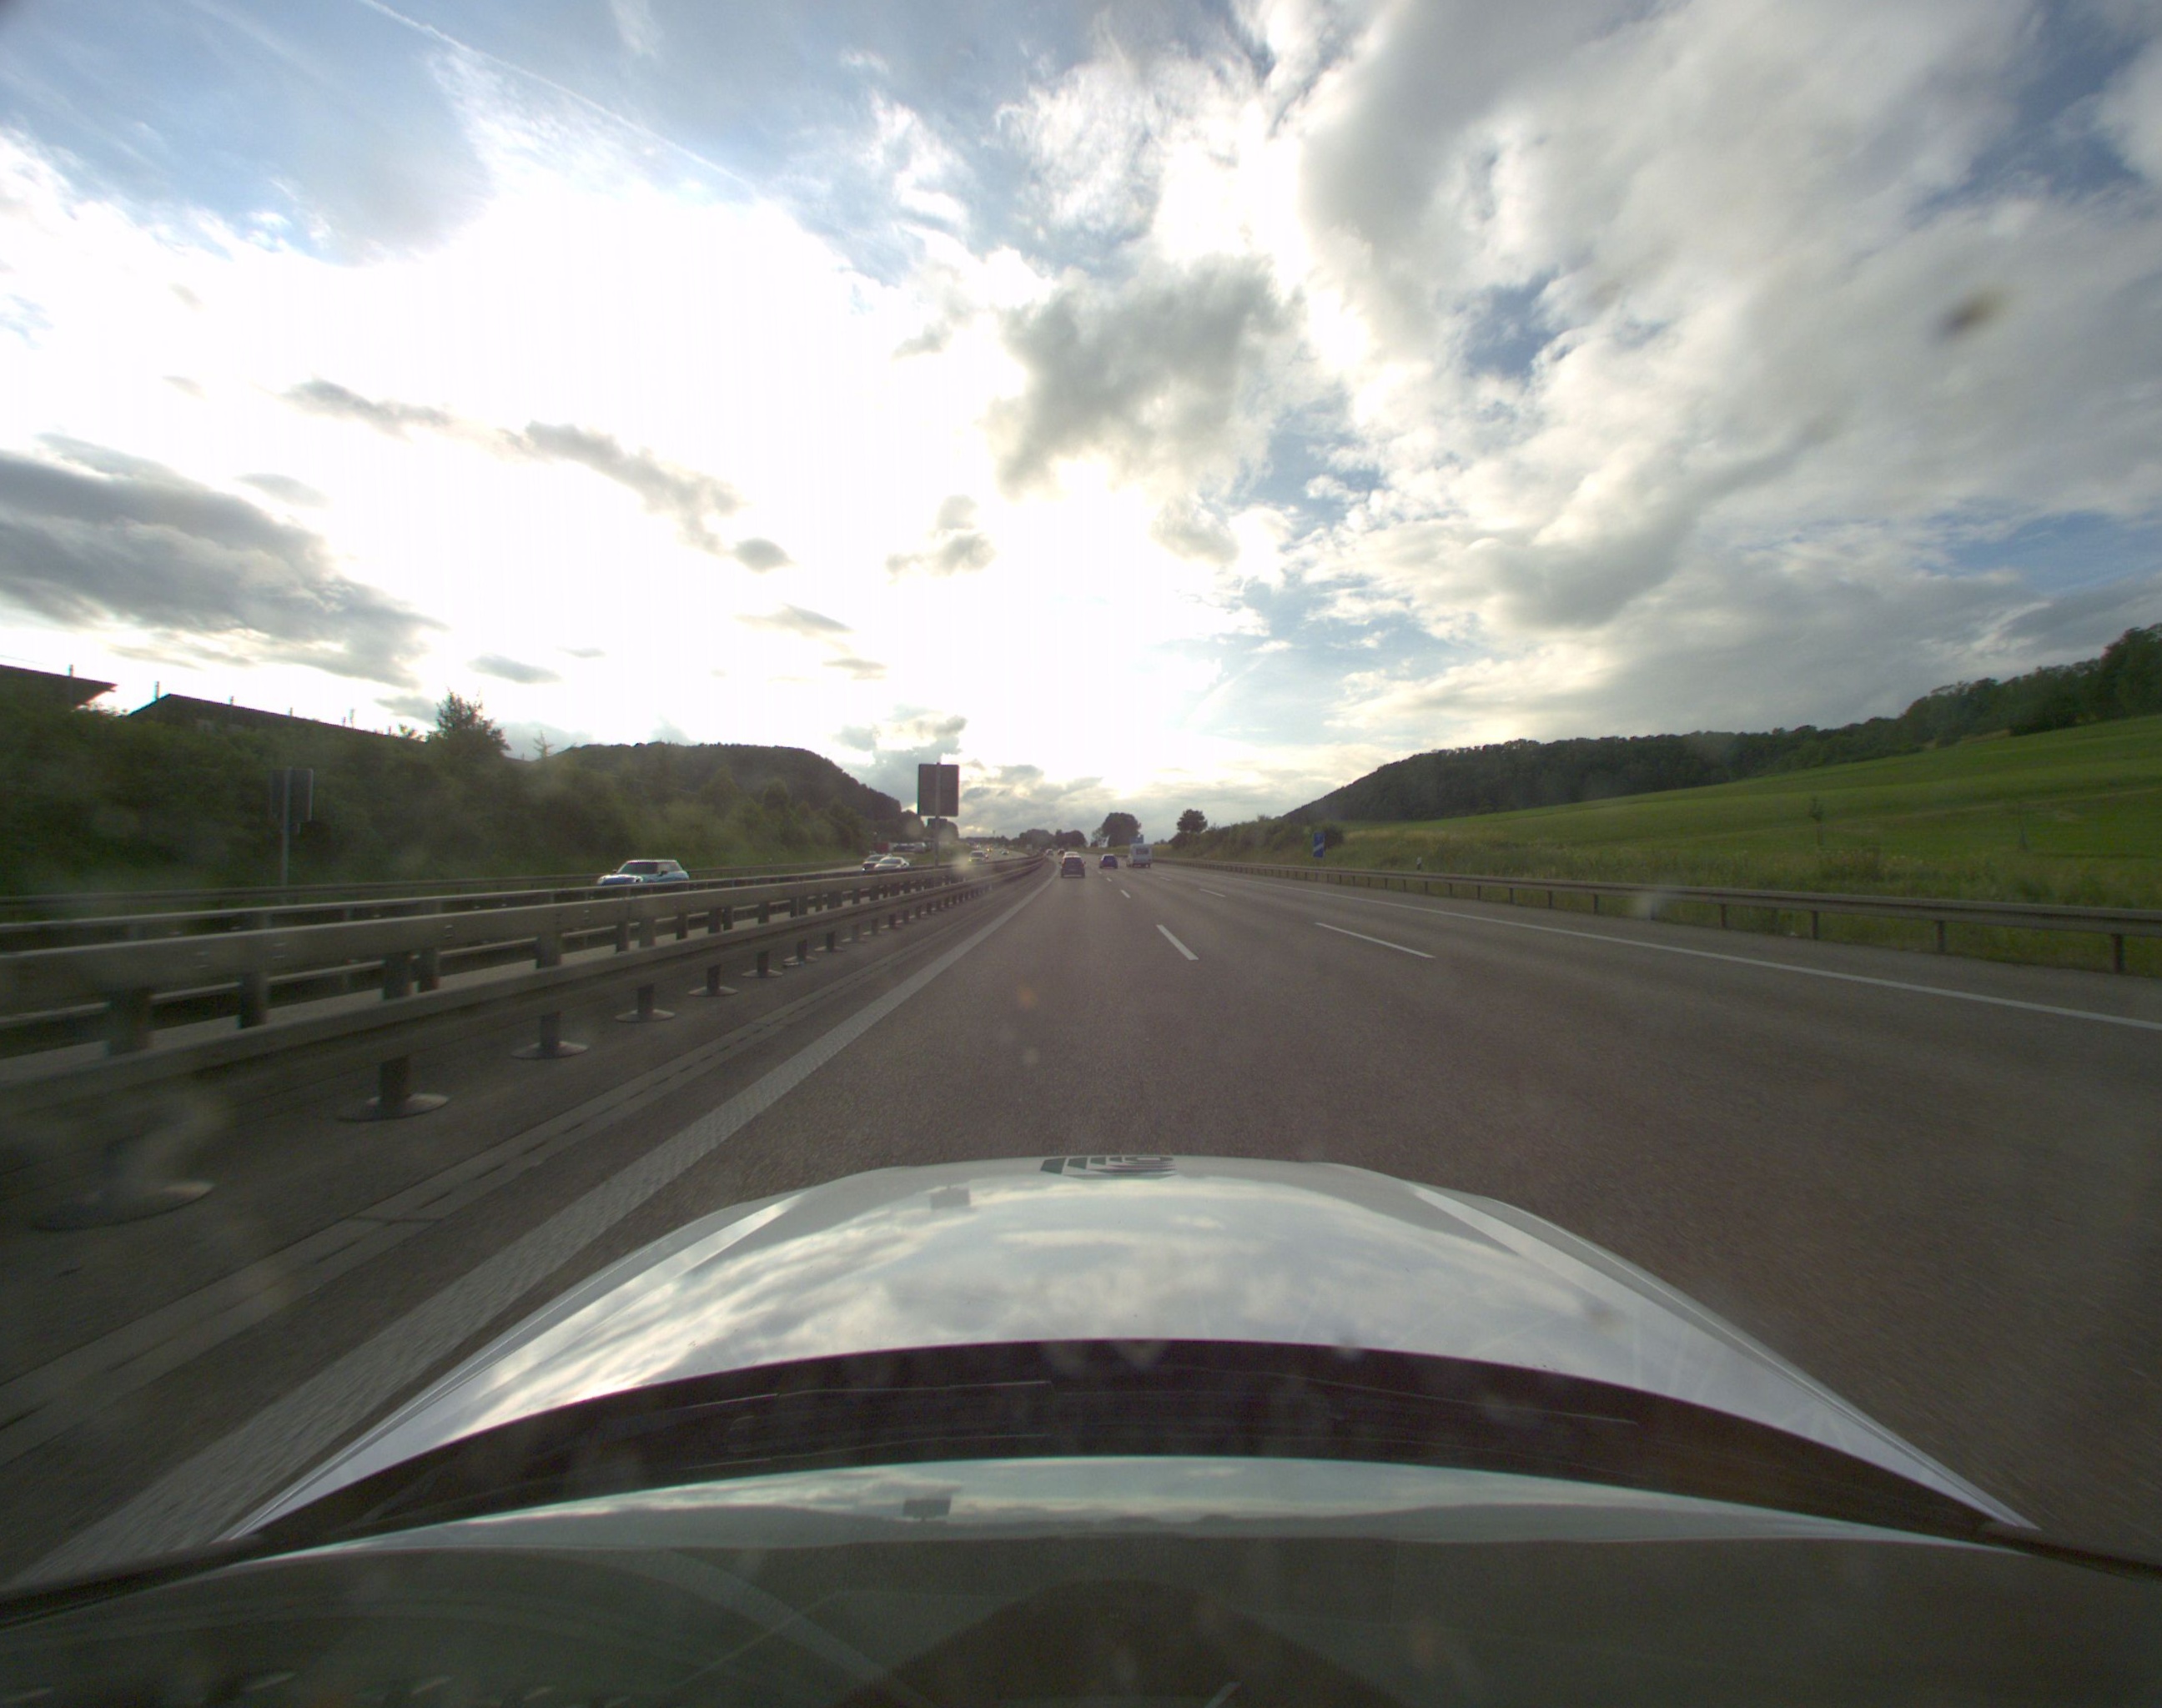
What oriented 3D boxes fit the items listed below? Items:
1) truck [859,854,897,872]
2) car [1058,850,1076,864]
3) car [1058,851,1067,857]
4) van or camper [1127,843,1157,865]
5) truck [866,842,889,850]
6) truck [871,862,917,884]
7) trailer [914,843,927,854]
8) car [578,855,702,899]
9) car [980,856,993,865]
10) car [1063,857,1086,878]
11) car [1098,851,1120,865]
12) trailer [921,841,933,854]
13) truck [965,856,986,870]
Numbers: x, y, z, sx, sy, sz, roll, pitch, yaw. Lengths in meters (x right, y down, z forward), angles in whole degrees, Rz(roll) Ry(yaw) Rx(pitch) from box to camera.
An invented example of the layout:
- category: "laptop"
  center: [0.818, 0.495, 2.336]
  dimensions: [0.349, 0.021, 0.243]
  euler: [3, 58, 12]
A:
- category: "truck"
  center: [-15.898, 0.700, 64.066]
  dimensions: [1.987, 1.353, 3.945]
  euler: [-2, 0, 0]
- category: "car"
  center: [-1.449, 0.346, 85.851]
  dimensions: [1.563, 1.380, 3.992]
  euler: [-1, 0, -5]
- category: "car"
  center: [-5.100, -0.106, 224.661]
  dimensions: [1.948, 1.574, 4.004]
  euler: [0, -1, 4]
- category: "van or camper"
  center: [6.487, 0.024, 87.388]
  dimensions: [2.542, 2.239, 5.323]
  euler: [-1, -1, -3]
- category: "truck"
  center: [-62.214, -2.511, 248.783]
  dimensions: [7.213, 2.013, 2.919]
  euler: [-3, 0, 36]
- category: "truck"
  center: [-11.632, 1.176, 50.957]
  dimensions: [1.988, 1.222, 3.997]
  euler: [-2, 0, -2]
- category: "trailer"
  center: [-46.243, -1.604, 235.033]
  dimensions: [2.576, 2.853, 12.232]
  euler: [0, -1, -7]
- category: "car"
  center: [-15.423, 0.752, 28.787]
  dimensions: [1.987, 1.353, 4.354]
  euler: [-1, 0, 0]
- category: "car"
  center: [-19.443, 1.347, 167.223]
  dimensions: [1.986, 1.486, 4.000]
  euler: [-3, -4, 2]
- category: "car"
  center: [-0.430, 0.918, 55.934]
  dimensions: [1.533, 1.348, 3.675]
  euler: [-1, -1, -1]
- category: "car"
  center: [2.836, 0.399, 83.620]
  dimensions: [1.763, 1.433, 3.994]
  euler: [-2, 0, -4]
- category: "trailer"
  center: [-49.066, -2.055, 259.184]
  dimensions: [2.875, 3.696, 13.640]
  euler: [-1, 0, -8]
- category: "truck"
  center: [-12.725, 1.066, 98.531]
  dimensions: [1.989, 1.594, 4.842]
  euler: [-2, 0, -3]
